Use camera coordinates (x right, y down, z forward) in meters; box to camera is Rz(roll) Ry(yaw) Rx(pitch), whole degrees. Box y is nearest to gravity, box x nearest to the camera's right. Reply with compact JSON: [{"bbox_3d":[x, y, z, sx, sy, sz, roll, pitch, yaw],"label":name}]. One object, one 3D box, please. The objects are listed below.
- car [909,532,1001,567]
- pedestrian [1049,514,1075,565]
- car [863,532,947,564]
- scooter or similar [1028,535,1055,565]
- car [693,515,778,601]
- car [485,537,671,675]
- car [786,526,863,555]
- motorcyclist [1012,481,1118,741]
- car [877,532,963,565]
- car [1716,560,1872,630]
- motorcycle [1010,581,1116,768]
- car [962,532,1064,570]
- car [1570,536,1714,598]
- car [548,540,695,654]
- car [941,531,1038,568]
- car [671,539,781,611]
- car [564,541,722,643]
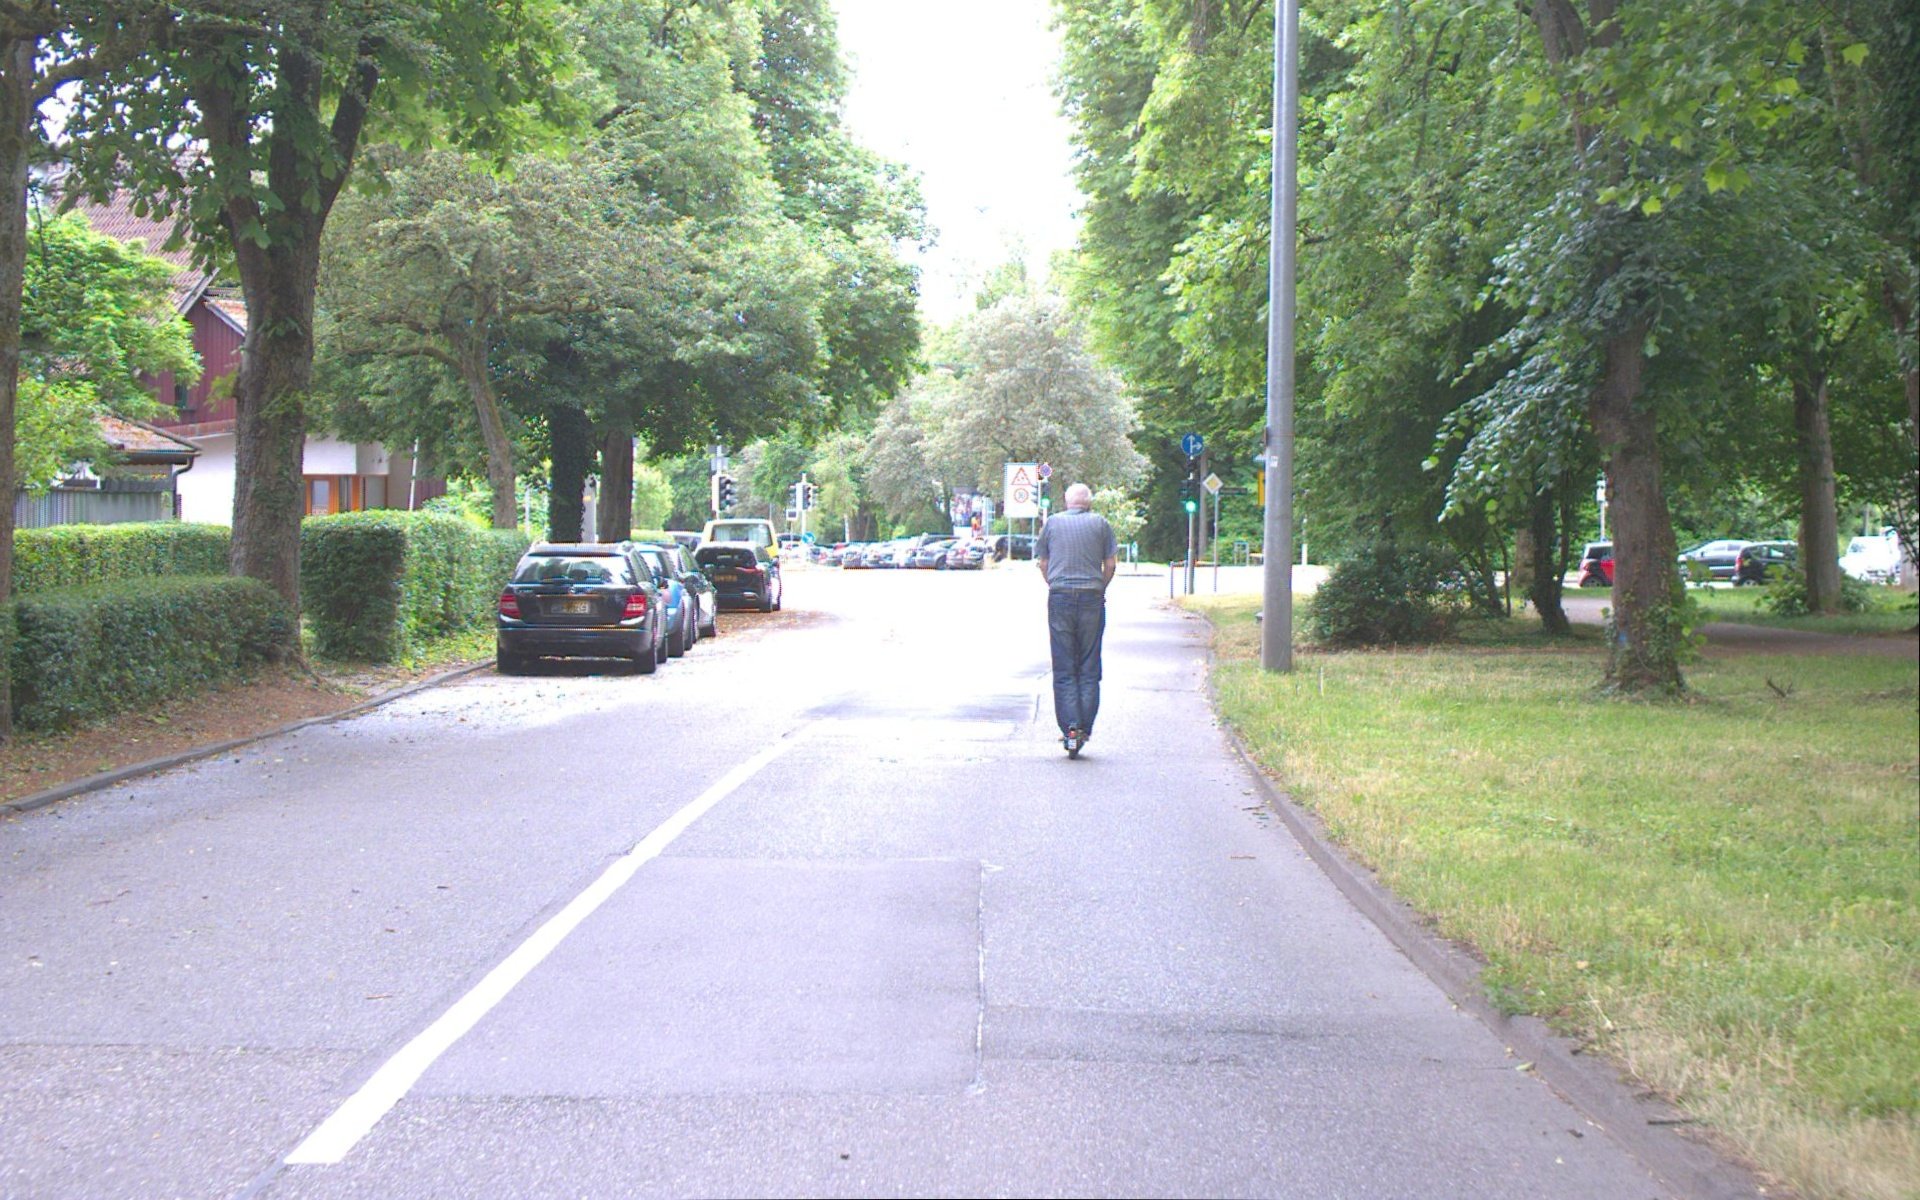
[{"bbox_3d":[-0.236,-2.236,151.348,3.986,1.505,1.800,0,1,-2],"label":"car"},{"bbox_3d":[3.504,-2.076,118.377,0.733,1.756,0.661,0,1,19],"label":"pedestrian"},{"bbox_3d":[-2.627,-2.468,163.977,3.986,1.505,1.800,0,1,-2],"label":"car"},{"bbox_3d":[2.808,-1.719,118.680,0.711,1.045,0.786,0,1,19],"label":"scooter or similar"},{"bbox_3d":[-5.329,-0.990,81.135,1.857,1.957,4.505,0,1,-5],"label":"car"},{"bbox_3d":[-4.295,0.028,39.185,1.794,1.467,4.419,0,1,-2],"label":"car"},{"bbox_3d":[-7.046,-3.101,178.558,3.986,1.505,1.800,0,1,-2],"label":"car"},{"bbox_3d":[0.722,0.069,23.738,0.673,1.755,0.639,2,1,1],"label":"motorcyclist"},{"bbox_3d":[-1.887,-2.444,162.076,3.986,1.505,1.800,0,1,-2],"label":"car"},{"bbox_3d":[23.894,-0.168,98.500,3.993,1.720,1.798,3,5,25],"label":"car"},{"bbox_3d":[0.705,0.496,23.615,0.673,1.213,1.274,2,1,1],"label":"motorcycle"},{"bbox_3d":[2.109,-1.969,137.361,3.986,1.505,1.800,0,1,-2],"label":"car"},{"bbox_3d":[19.764,-0.965,99.544,3.989,1.551,1.799,2,4,13],"label":"car"},{"bbox_3d":[-4.321,-0.073,44.277,1.664,1.387,3.707,0,1,-2],"label":"car"},{"bbox_3d":[1.225,-2.132,144.501,3.986,1.505,1.800,0,1,-2],"label":"car"},{"bbox_3d":[-4.747,-0.514,70.261,1.892,1.405,4.554,0,1,0],"label":"car"},{"bbox_3d":[-4.562,-0.151,50.035,1.794,1.405,4.645,0,1,1],"label":"car"}]
